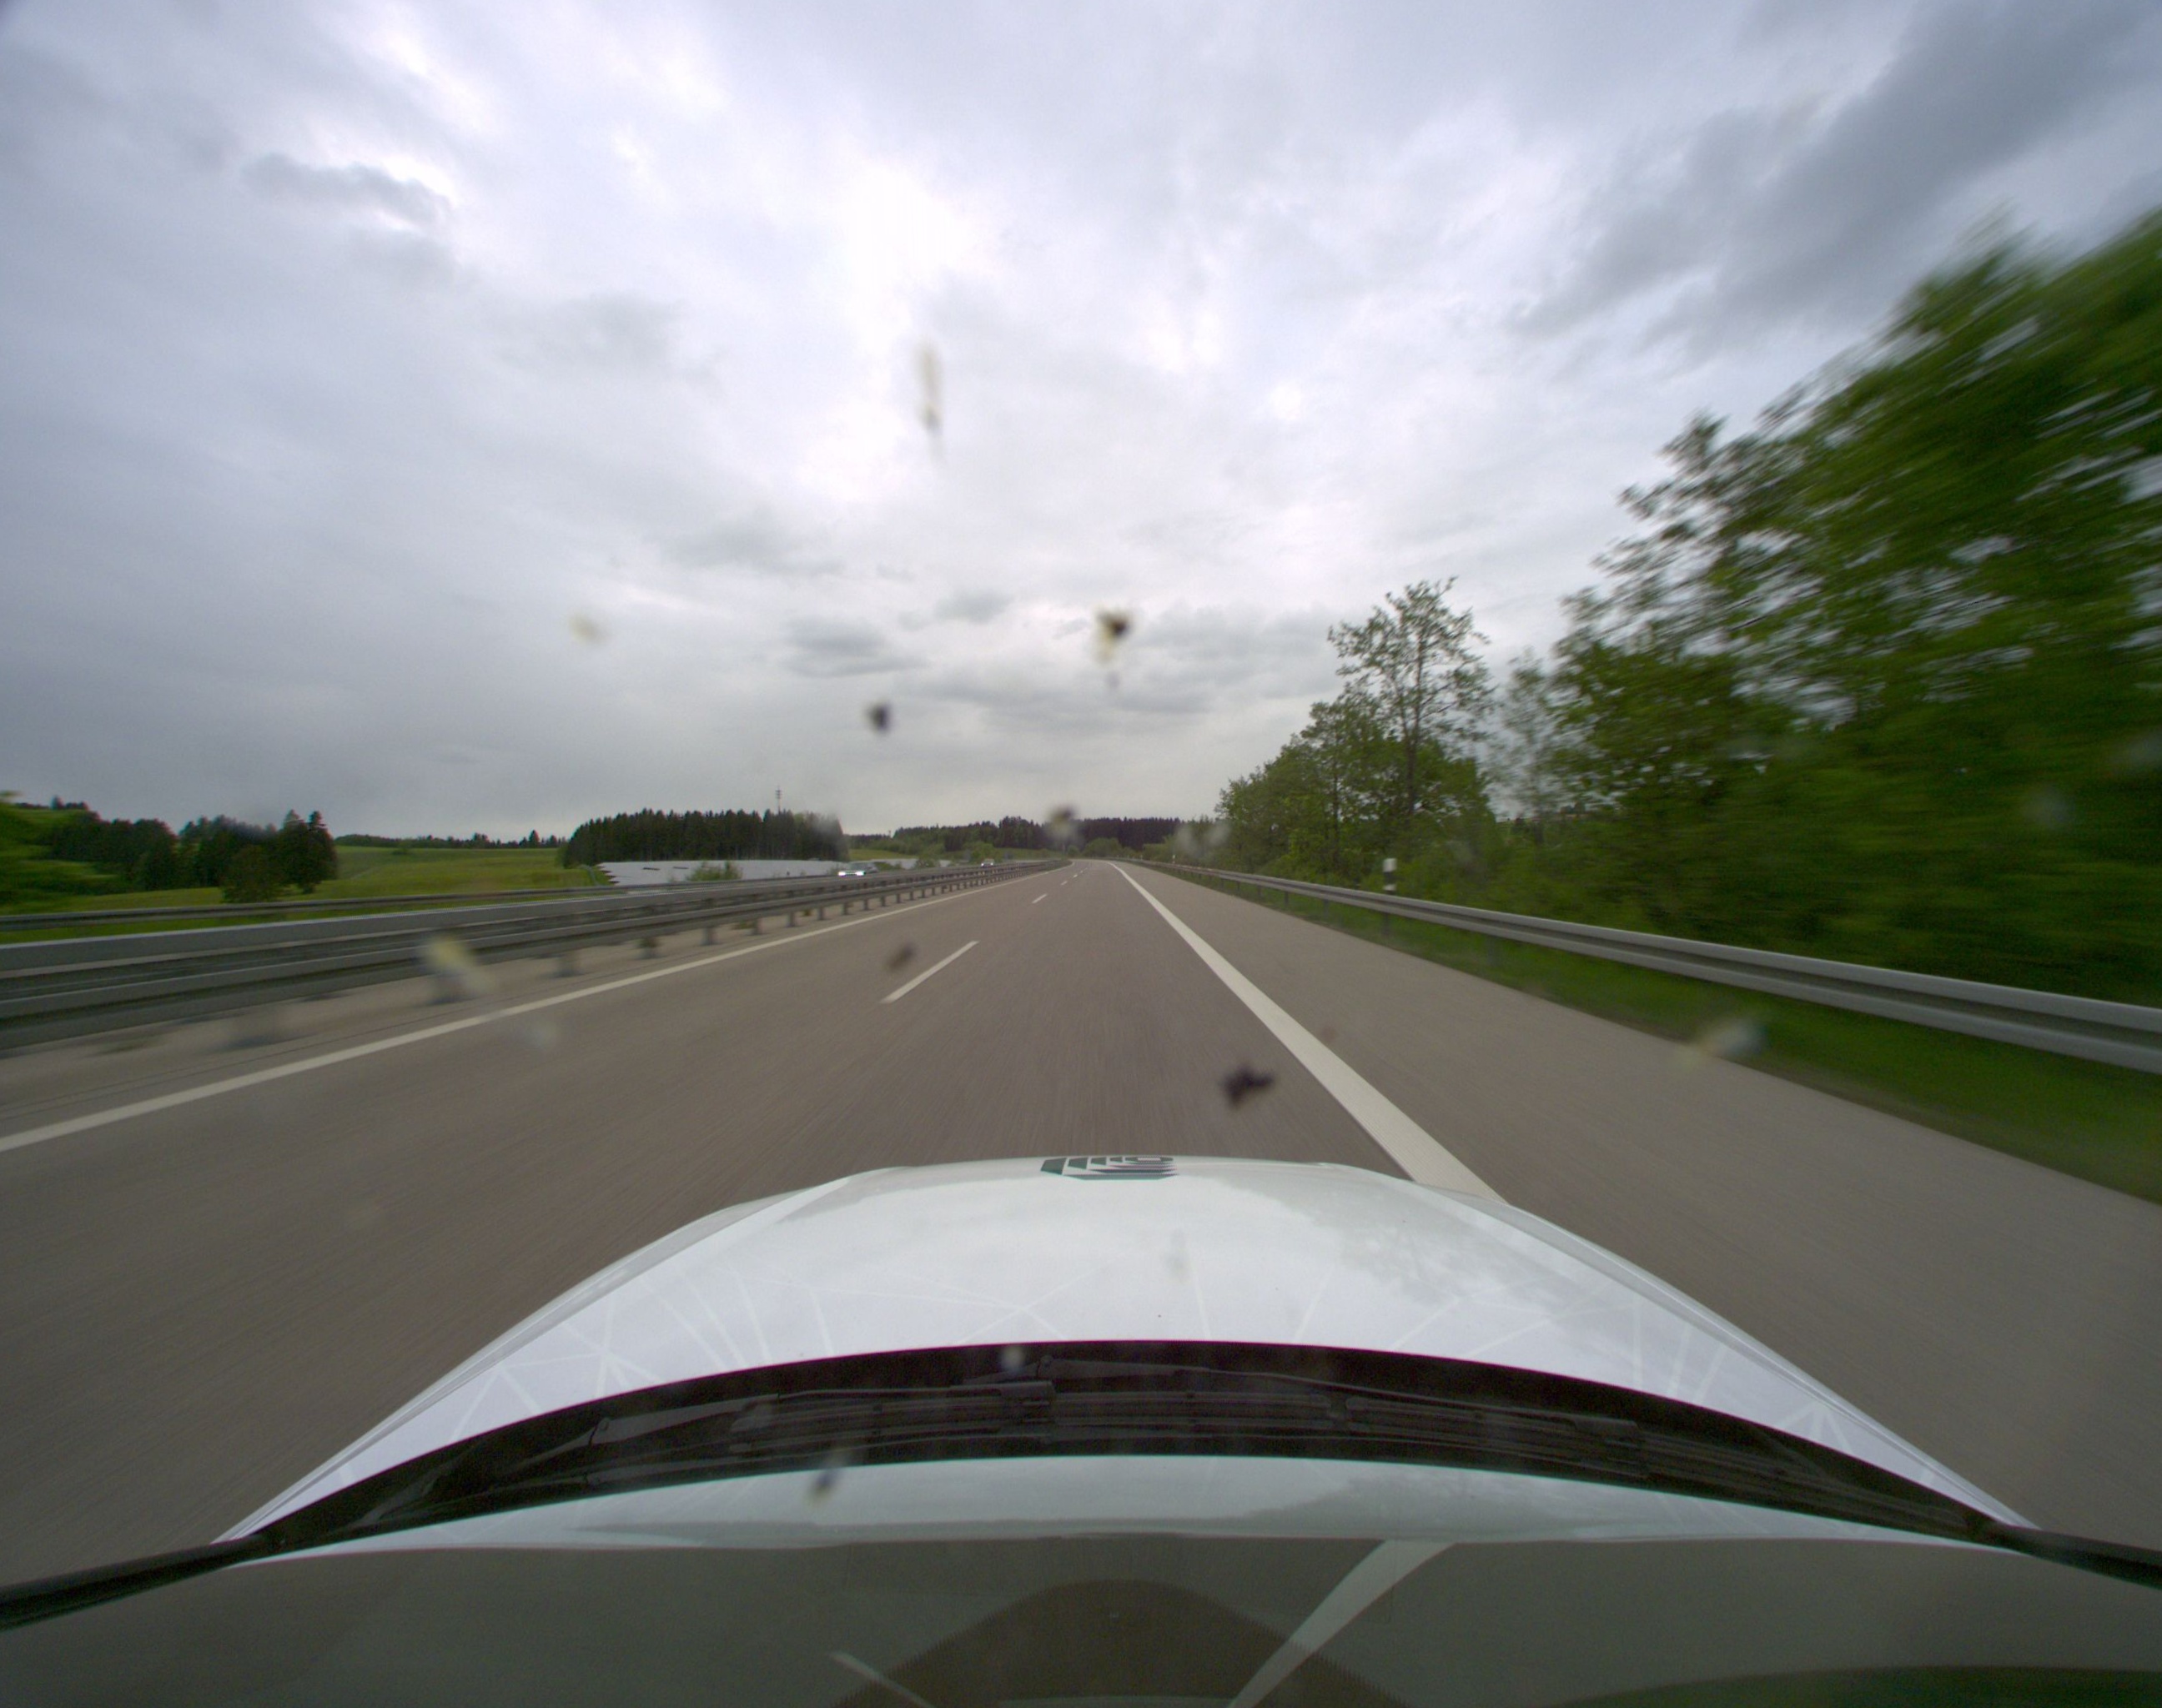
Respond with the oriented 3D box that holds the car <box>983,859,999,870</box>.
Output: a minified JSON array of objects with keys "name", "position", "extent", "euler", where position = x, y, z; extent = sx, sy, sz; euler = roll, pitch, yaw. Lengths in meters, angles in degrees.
[{"name":"car","position":[-14.046,1.634,127.165],"extent":[1.987,1.617,4.847],"euler":[-1,-1,0]}]

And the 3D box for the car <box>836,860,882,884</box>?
[{"name":"car","position":[-15.188,1.208,55.953],"extent":[1.892,1.612,4.230],"euler":[0,-1,1]}]
